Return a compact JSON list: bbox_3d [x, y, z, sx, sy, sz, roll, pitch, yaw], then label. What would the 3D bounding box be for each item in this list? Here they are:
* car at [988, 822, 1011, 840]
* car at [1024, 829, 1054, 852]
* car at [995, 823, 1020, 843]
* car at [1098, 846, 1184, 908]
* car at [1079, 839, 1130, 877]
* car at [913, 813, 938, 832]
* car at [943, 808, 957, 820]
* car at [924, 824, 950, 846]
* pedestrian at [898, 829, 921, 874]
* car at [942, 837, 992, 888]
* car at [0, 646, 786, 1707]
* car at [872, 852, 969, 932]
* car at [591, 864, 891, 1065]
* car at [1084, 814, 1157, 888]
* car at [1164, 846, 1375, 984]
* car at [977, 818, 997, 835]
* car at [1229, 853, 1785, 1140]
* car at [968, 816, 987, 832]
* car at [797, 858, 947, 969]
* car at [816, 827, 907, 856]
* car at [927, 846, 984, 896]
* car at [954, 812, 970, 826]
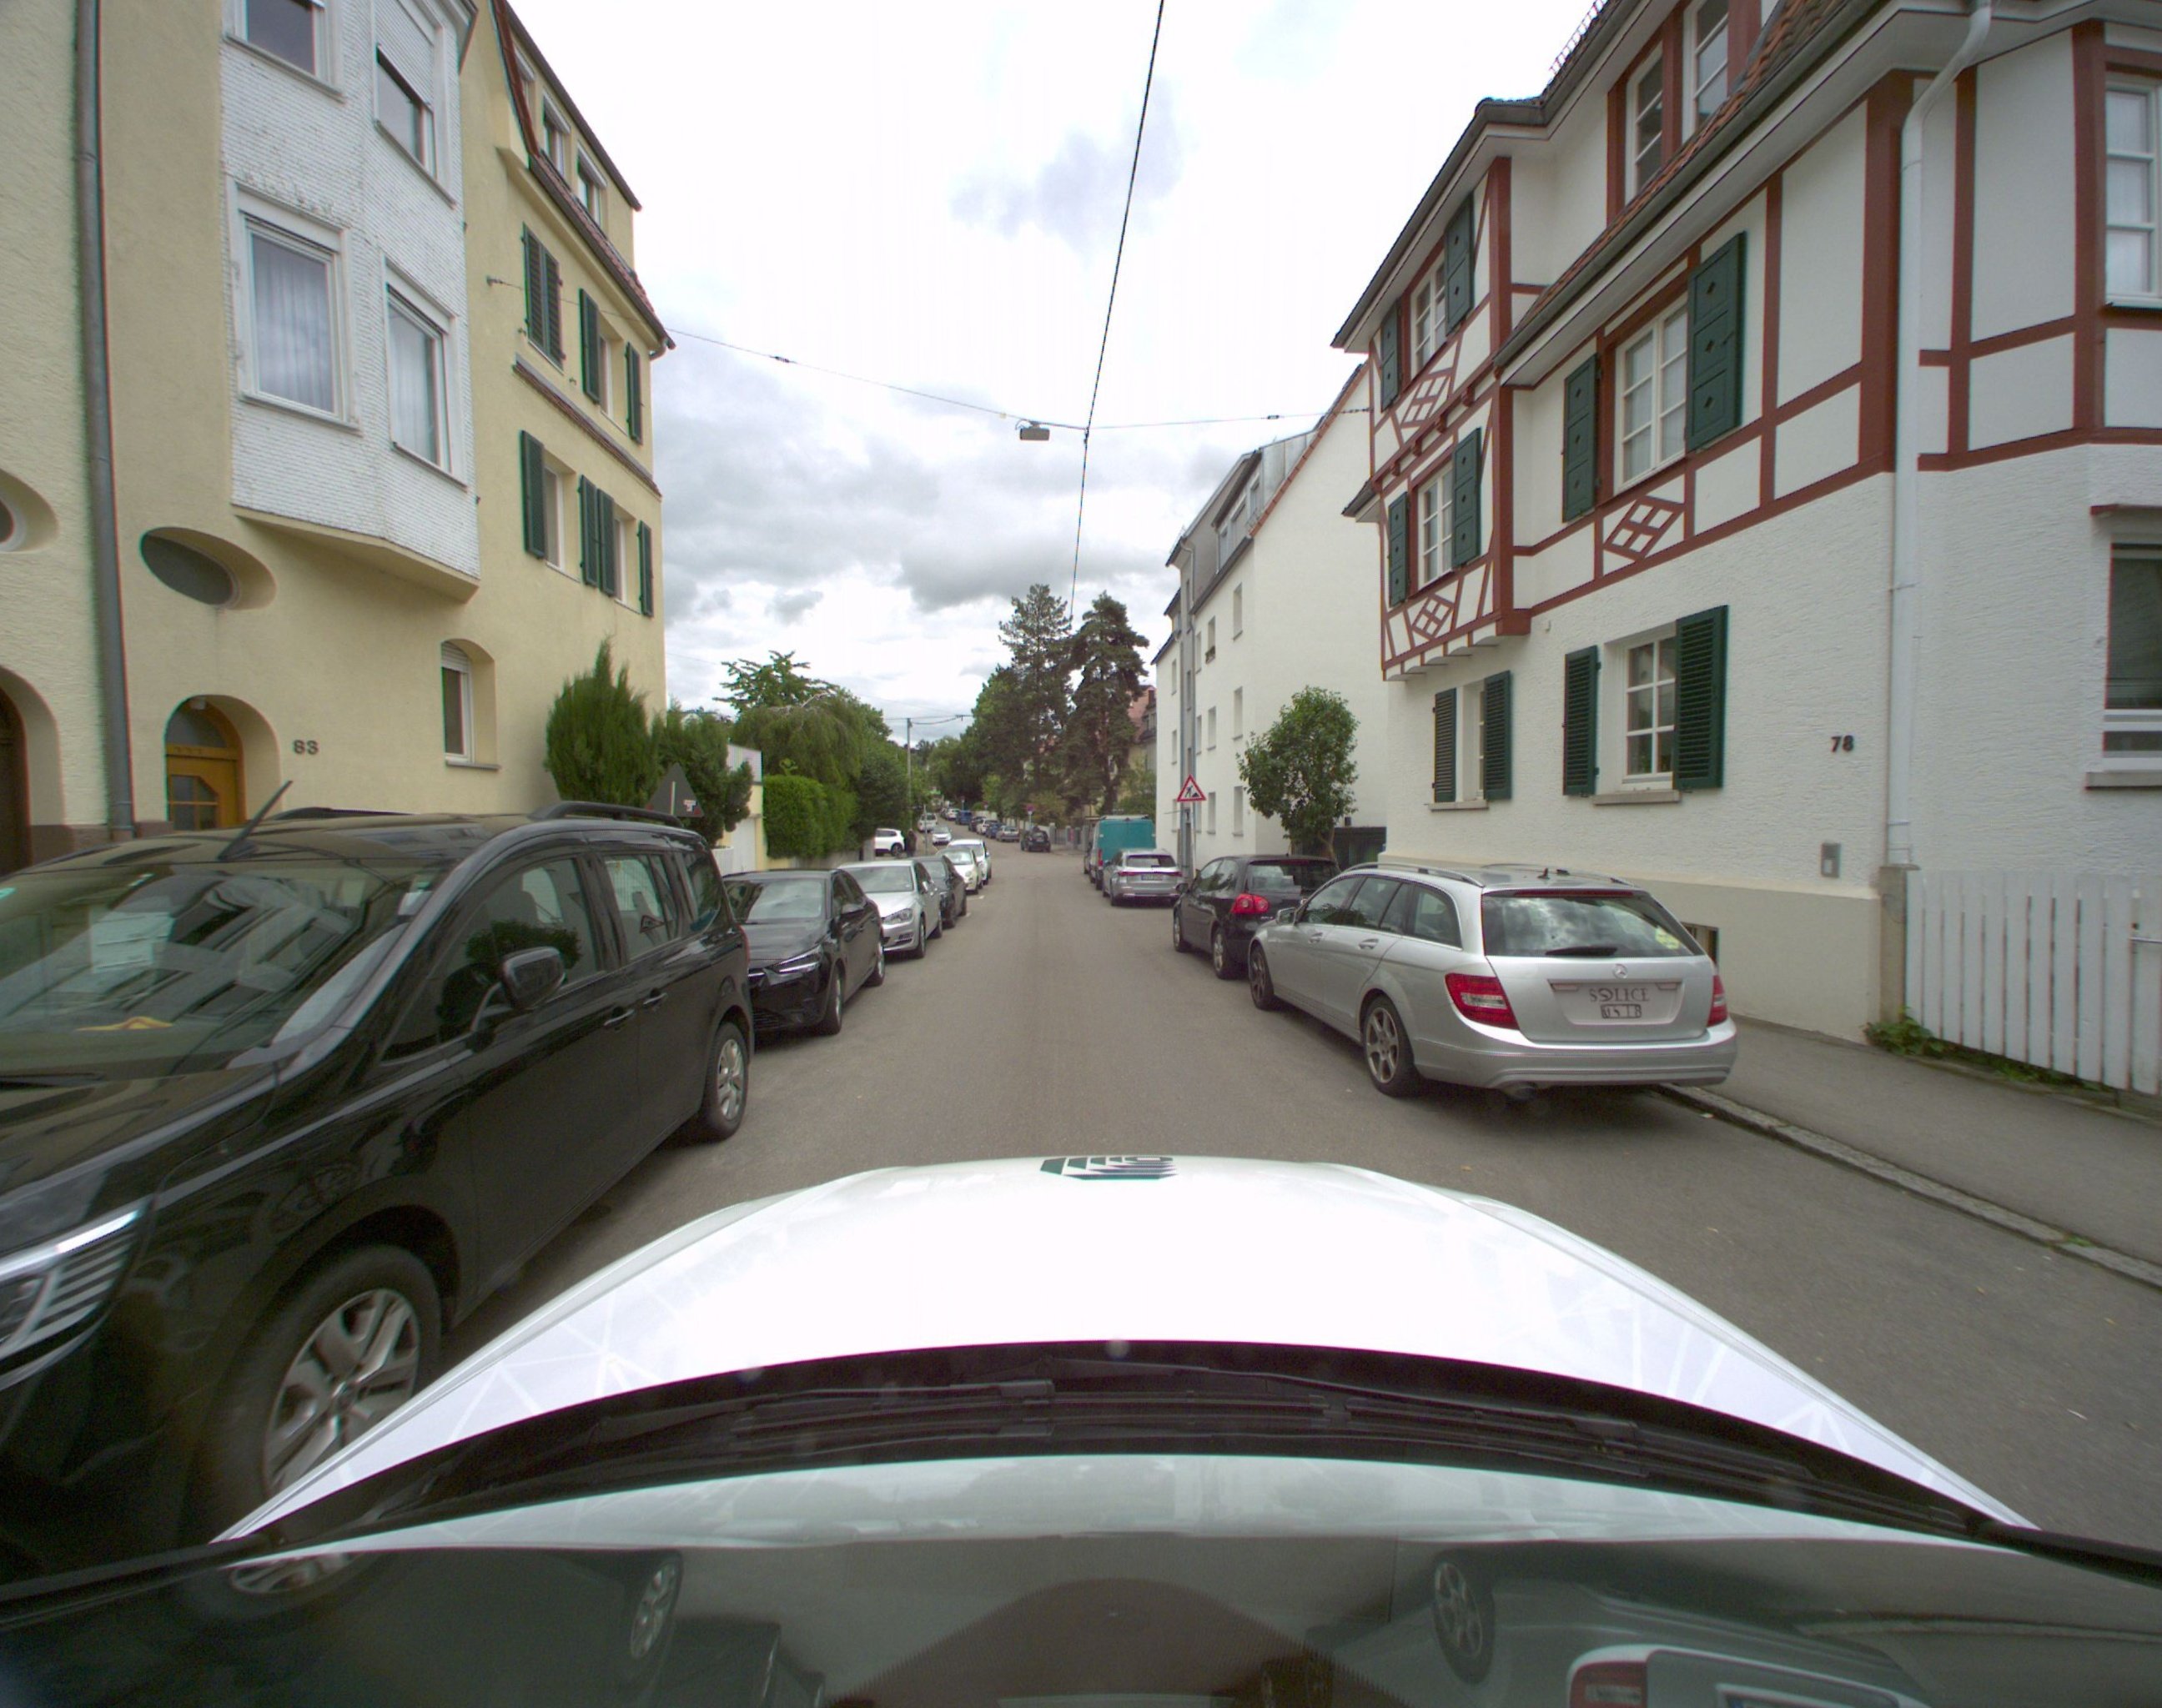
[{"bbox_3d":[-7.450,-2.119,74.401,1.636,1.483,3.516,0,4,-13],"label":"car"},{"bbox_3d":[-3.031,-1.007,58.392,1.635,1.483,3.518,0,4,-12],"label":"car"},{"bbox_3d":[-6.323,-1.823,69.823,1.636,1.483,3.516,0,4,-13],"label":"car"},{"bbox_3d":[1.512,0.531,21.929,1.722,1.448,3.874,-1,1,-5],"label":"car"},{"bbox_3d":[0.947,0.123,34.509,1.722,1.448,3.874,-1,1,-5],"label":"car"},{"bbox_3d":[-16.251,-3.307,85.112,1.909,1.876,4.568,-2,3,-18],"label":"car"},{"bbox_3d":[-17.694,-5.392,110.095,1.636,1.537,3.516,0,4,-13],"label":"car"},{"bbox_3d":[-11.832,-1.589,66.819,1.676,1.656,3.842,-2,3,-17],"label":"car"},{"bbox_3d":[-7.410,-0.116,35.201,0.789,1.932,0.919,0,1,-1],"label":"pedestrian"},{"bbox_3d":[-4.360,0.265,31.652,1.669,1.656,3.858,-2,3,-5],"label":"car"},{"bbox_3d":[-2.658,0.658,3.097,1.843,1.815,4.533,-2,0,-7],"label":"car"},{"bbox_3d":[-3.397,0.729,17.835,1.593,1.478,3.984,-2,0,-5],"label":"car"},{"bbox_3d":[-3.006,0.847,8.082,1.640,1.387,3.852,-2,0,-6],"label":"car"},{"bbox_3d":[1.280,-0.148,28.282,1.977,2.362,4.270,-1,1,-5],"label":"car"},{"bbox_3d":[2.310,0.667,11.020,1.687,1.519,3.874,0,0,-5],"label":"car"},{"bbox_3d":[-9.266,-2.742,80.294,1.636,1.537,3.516,0,4,-13],"label":"car"},{"bbox_3d":[2.643,0.722,6.436,1.816,1.442,4.444,0,0,-5],"label":"car"},{"bbox_3d":[-10.981,-3.171,85.943,1.636,1.537,3.516,0,4,-13],"label":"car"},{"bbox_3d":[-3.172,0.816,13.105,1.639,1.416,3.977,-2,0,-5],"label":"car"},{"bbox_3d":[-12.689,-0.725,47.340,1.974,1.640,4.843,1,1,38],"label":"car"},{"bbox_3d":[-4.118,0.506,27.215,1.593,1.412,3.657,-2,2,-5],"label":"car"},{"bbox_3d":[-14.614,-4.336,99.929,1.636,1.537,3.516,0,4,-13],"label":"car"}]
